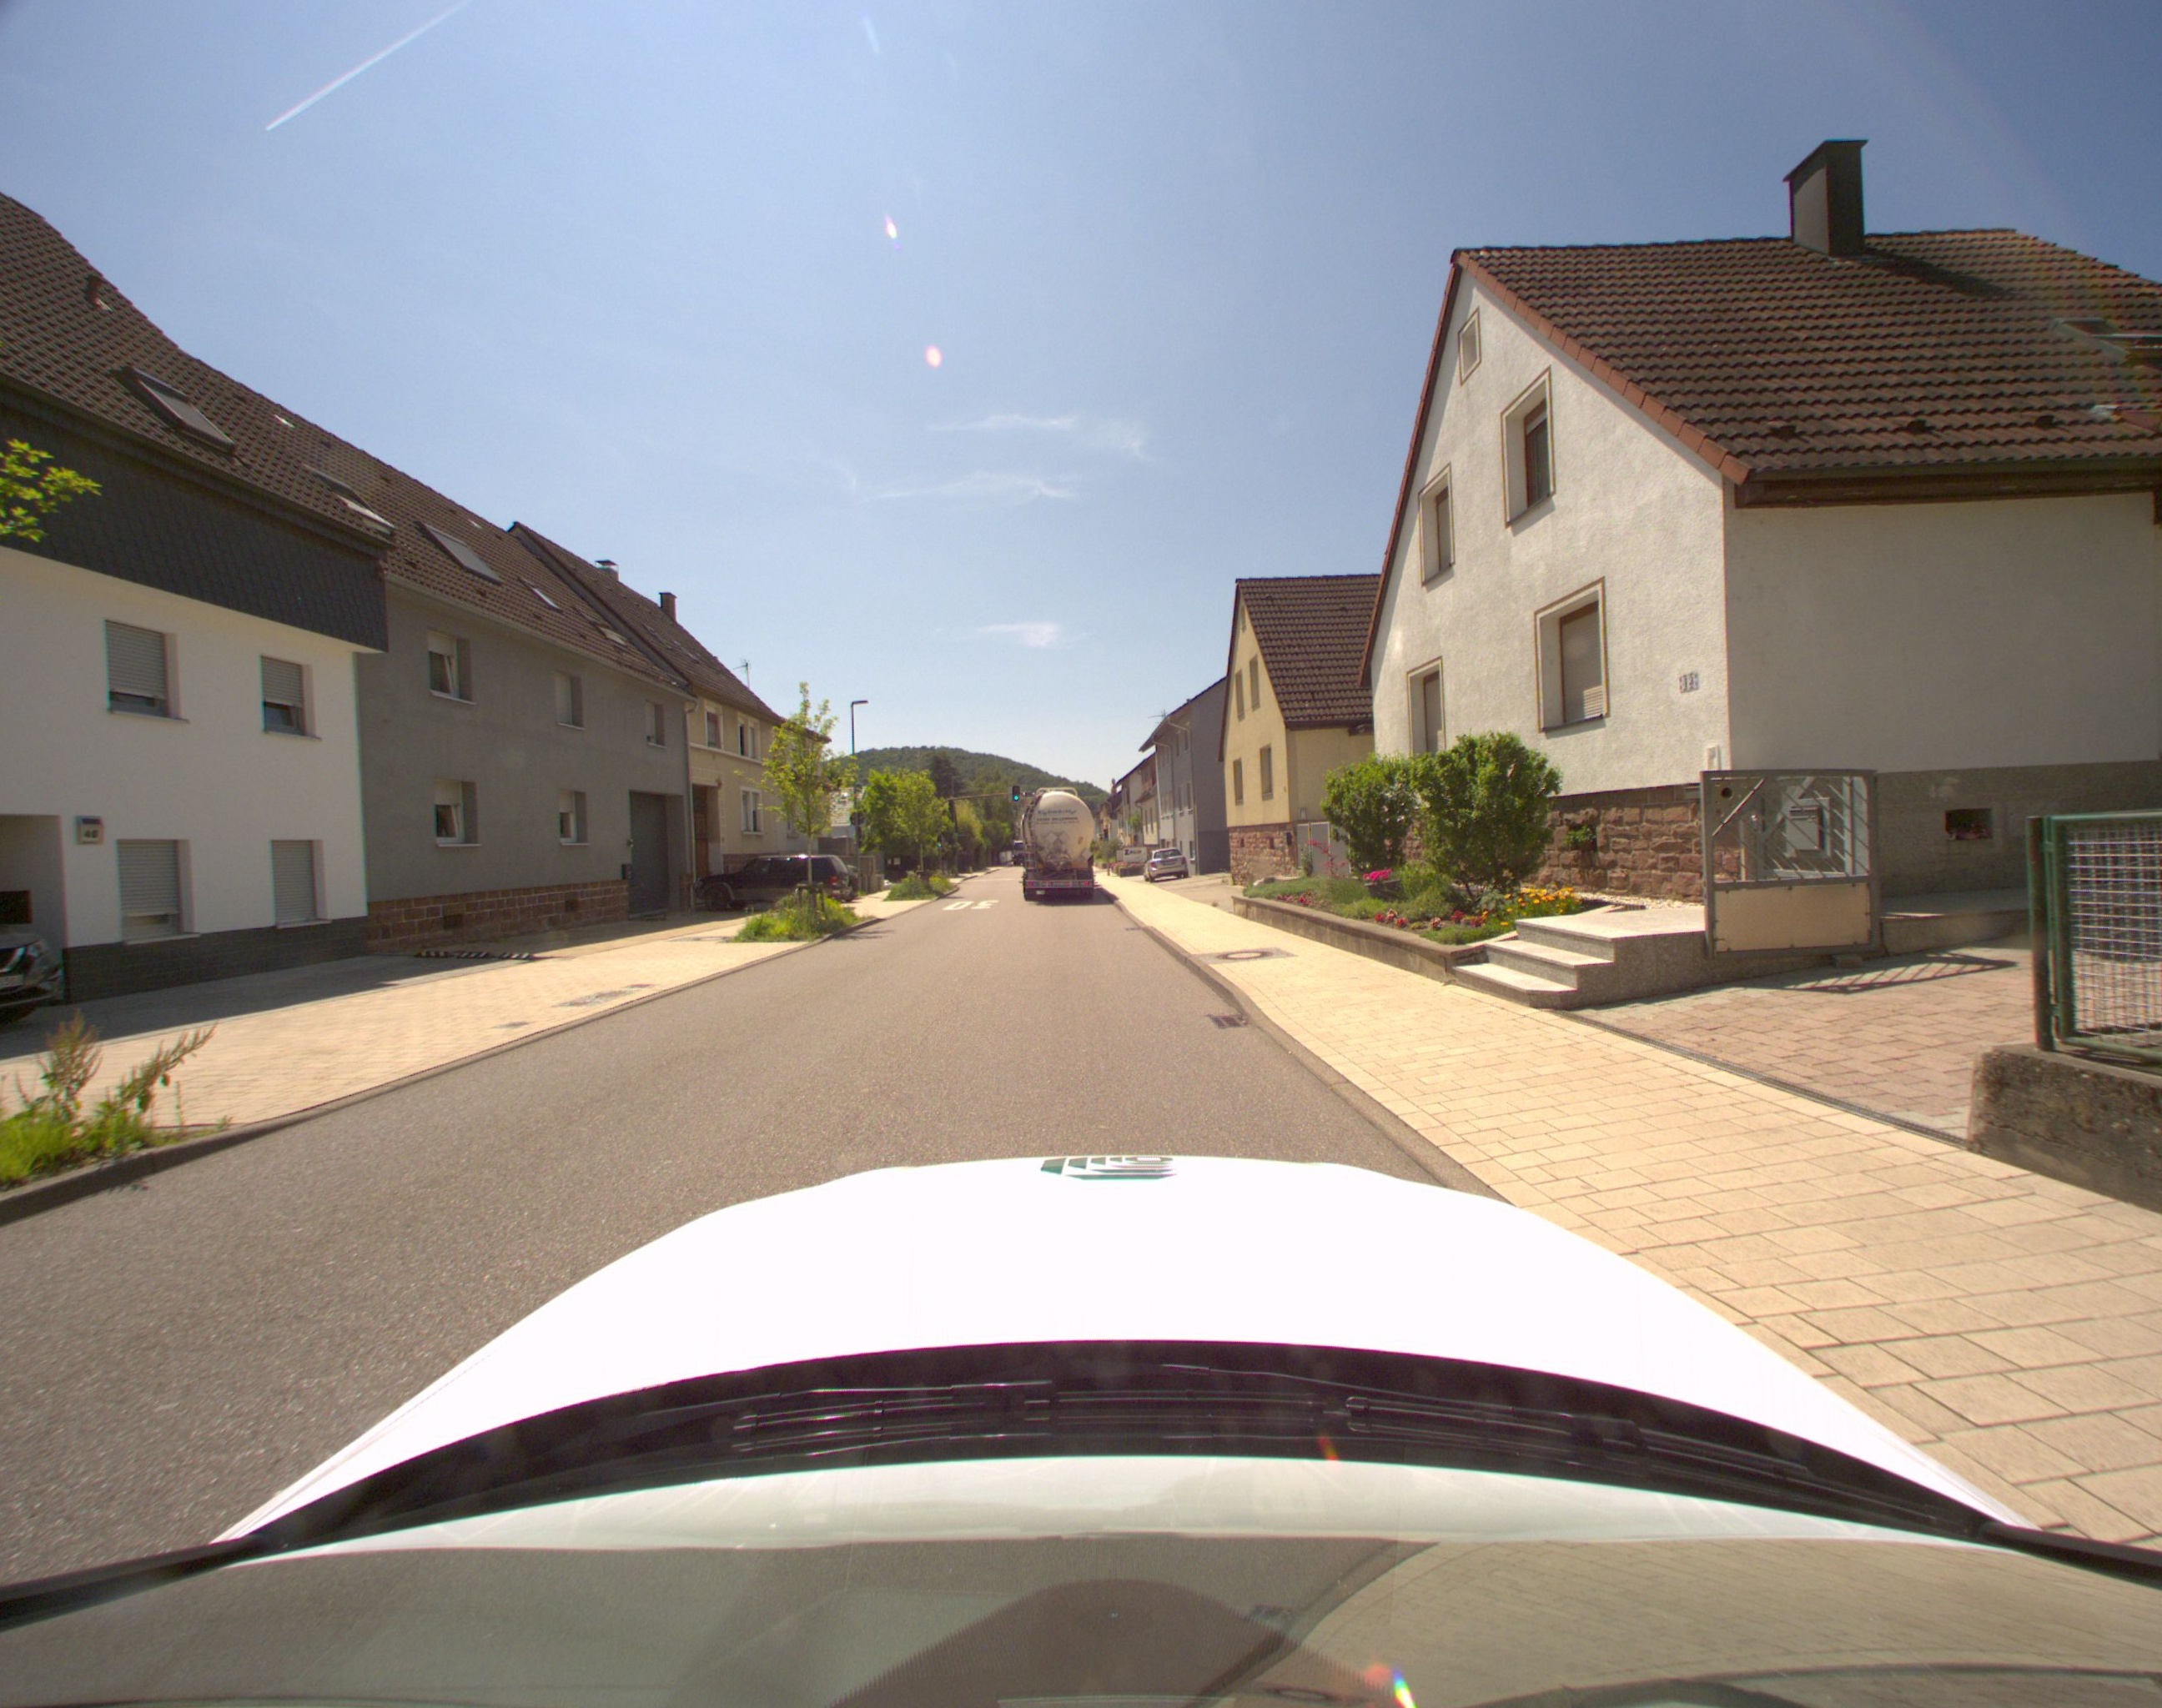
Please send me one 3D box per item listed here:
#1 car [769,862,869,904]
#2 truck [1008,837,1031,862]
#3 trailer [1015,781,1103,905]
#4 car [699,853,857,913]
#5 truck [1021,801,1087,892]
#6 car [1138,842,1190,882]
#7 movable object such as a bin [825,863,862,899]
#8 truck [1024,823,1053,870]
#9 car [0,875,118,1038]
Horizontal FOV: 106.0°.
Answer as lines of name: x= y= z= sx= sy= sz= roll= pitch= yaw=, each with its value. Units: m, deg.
car: x=-9.904 y=1.108 z=30.758 sx=3.505 sy=1.439 sz=1.709 roll=-2 pitch=0 yaw=33
truck: x=-8.544 y=-0.656 z=114.491 sx=2.721 sy=3.371 sz=8.628 roll=-1 pitch=0 yaw=-2
trailer: x=-0.984 y=-0.372 z=31.944 sx=2.790 sy=4.001 sz=10.312 roll=-1 pitch=0 yaw=-3
car: x=-9.786 y=0.903 z=26.589 sx=4.384 sy=1.750 sz=1.876 roll=-2 pitch=0 yaw=-3
truck: x=-1.327 y=-0.346 z=38.550 sx=2.802 sy=3.937 sz=6.091 roll=-1 pitch=0 yaw=-3
car: x=3.774 y=0.341 z=37.574 sx=1.785 sy=1.541 sz=4.519 roll=-7 pitch=0 yaw=0
movable object such as a bin: x=-9.474 y=1.083 z=32.599 sx=0.985 sy=1.319 sz=1.405 roll=-1 pitch=2 yaw=2
truck: x=-4.518 y=-0.616 z=87.049 sx=2.840 sy=4.679 sz=11.326 roll=0 pitch=-1 yaw=-3
car: x=-12.394 y=1.043 z=7.828 sx=3.976 sy=1.545 sz=1.831 roll=-1 pitch=0 yaw=-2
